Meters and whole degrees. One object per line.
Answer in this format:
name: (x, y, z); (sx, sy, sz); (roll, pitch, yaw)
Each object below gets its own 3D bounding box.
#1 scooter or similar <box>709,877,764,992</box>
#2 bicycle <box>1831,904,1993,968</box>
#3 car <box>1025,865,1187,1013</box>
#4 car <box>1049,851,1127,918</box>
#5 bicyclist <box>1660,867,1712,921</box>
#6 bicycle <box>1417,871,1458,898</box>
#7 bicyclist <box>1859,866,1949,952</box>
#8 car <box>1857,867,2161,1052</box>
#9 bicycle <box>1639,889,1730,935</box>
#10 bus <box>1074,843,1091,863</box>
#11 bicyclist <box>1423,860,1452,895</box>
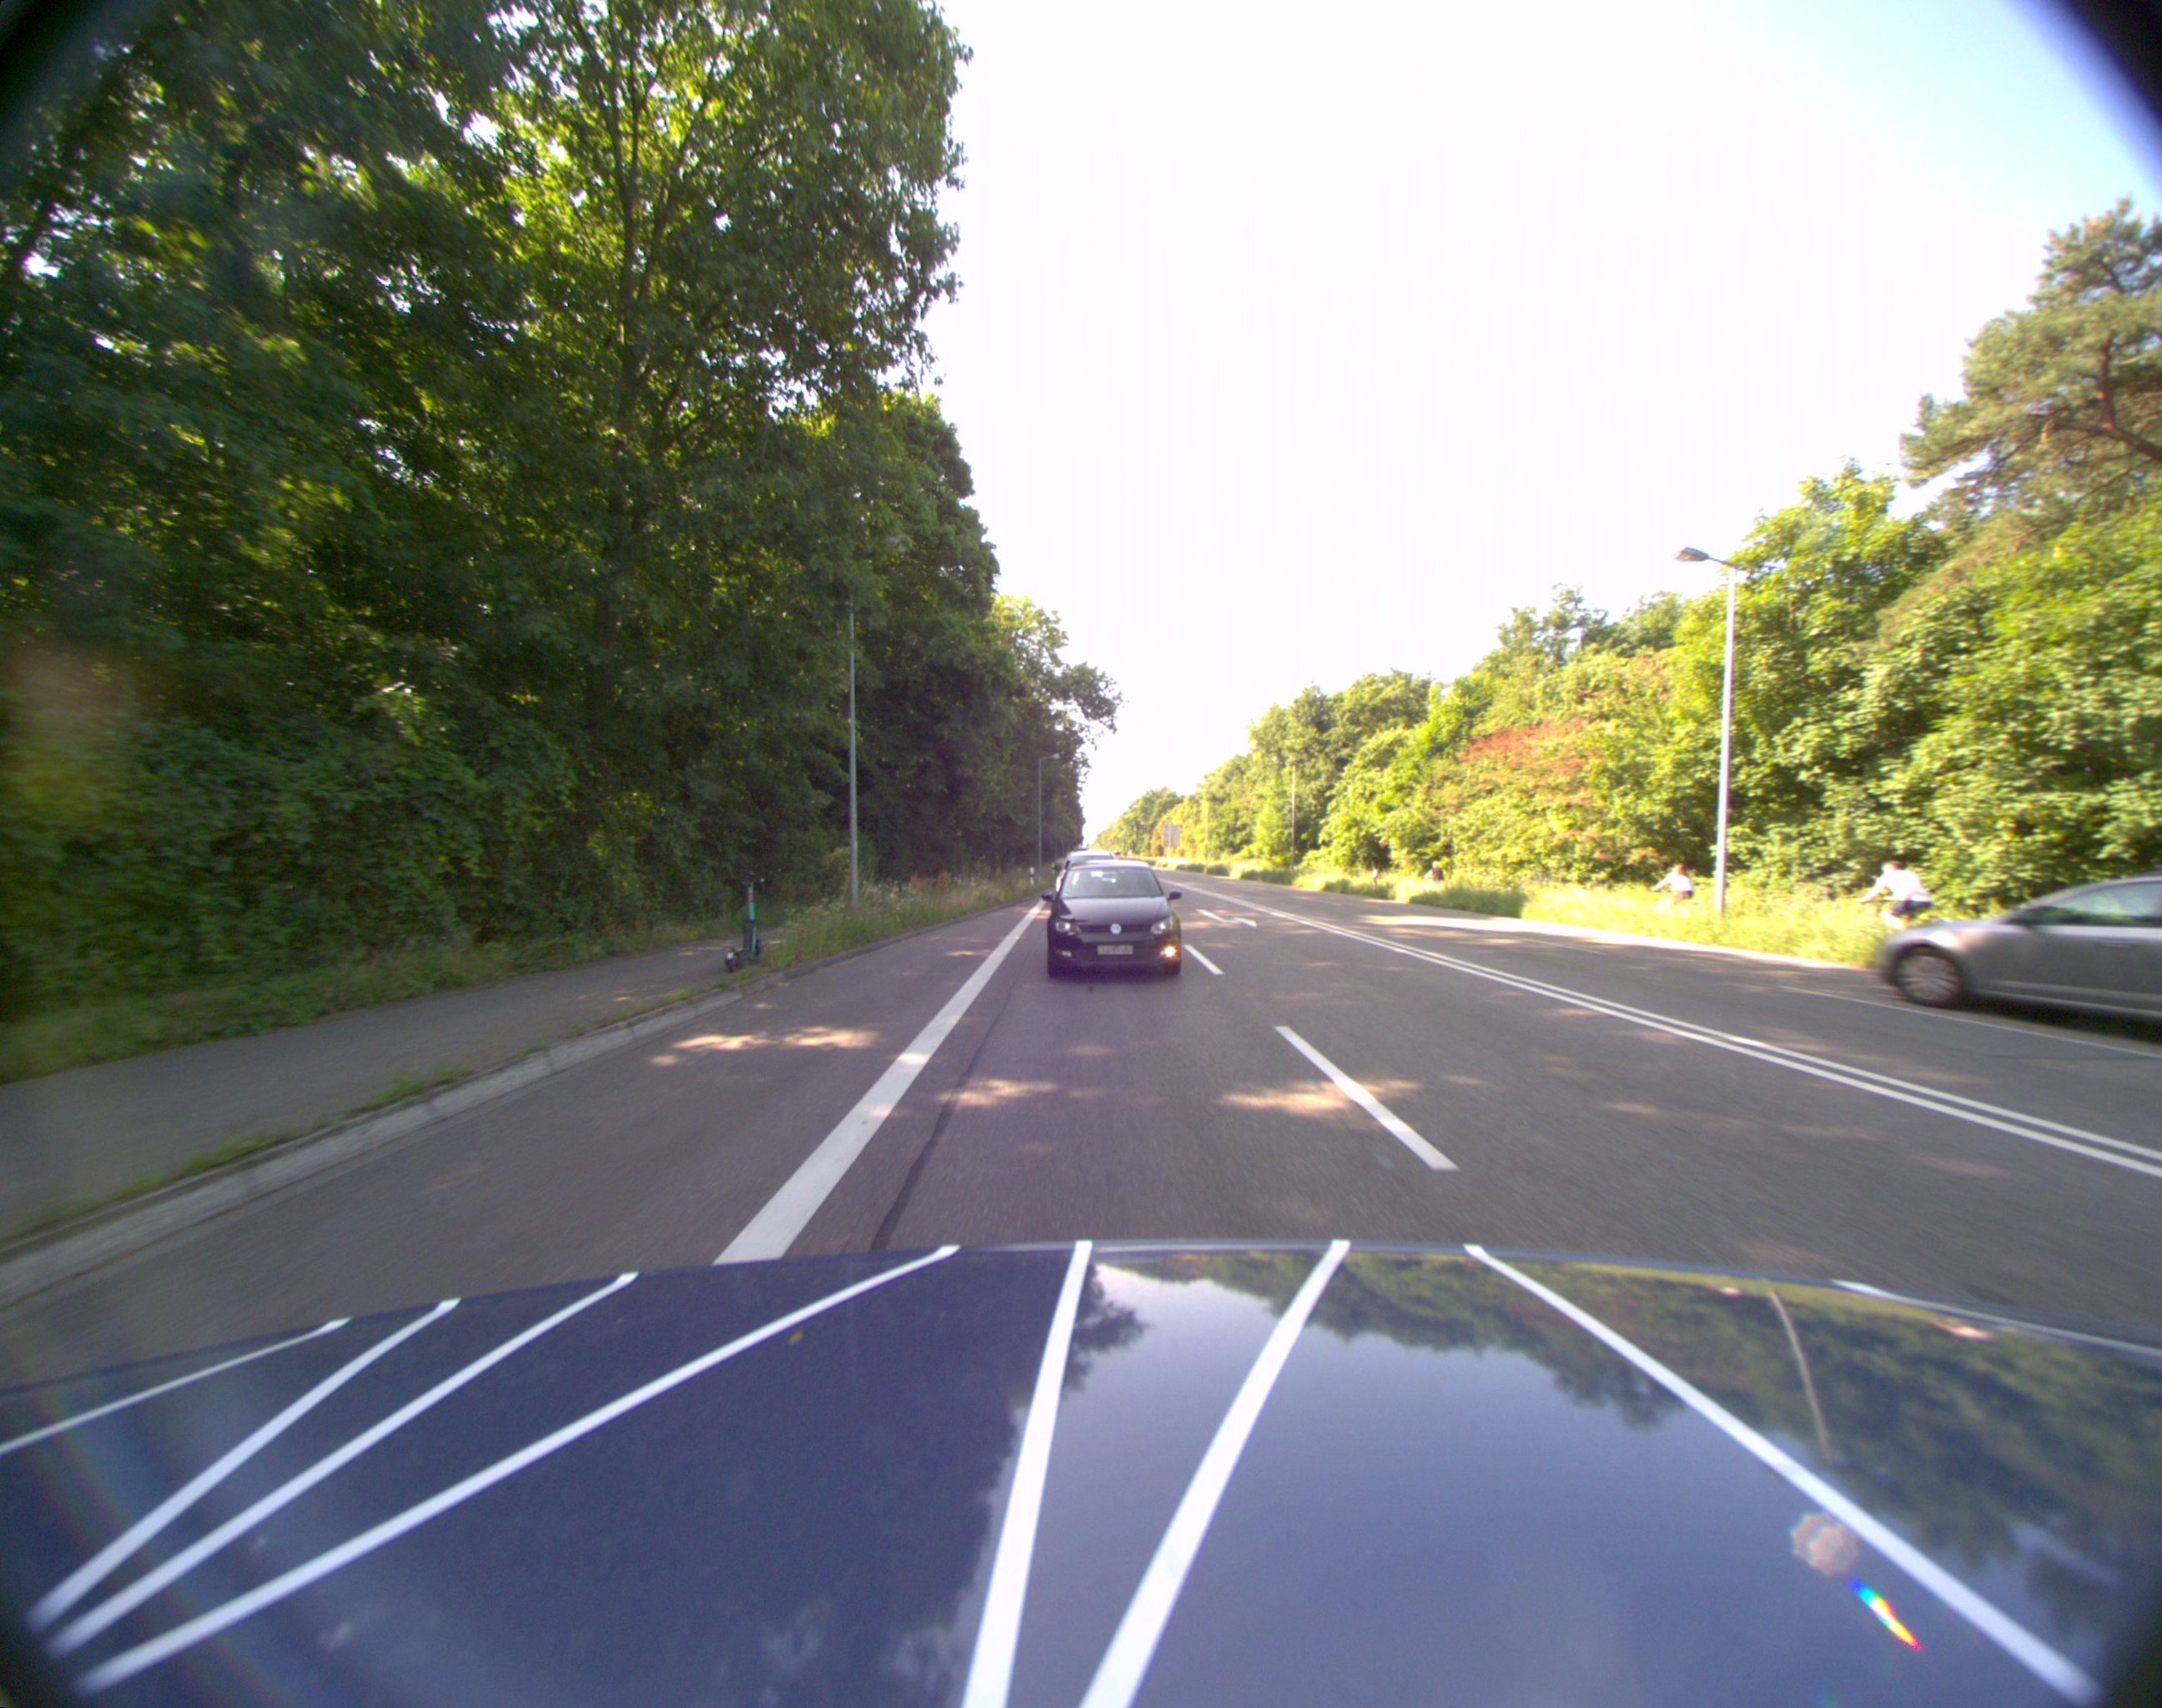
scooter or similar: (-4.321, 0.968, 9.578); (0.401, 1.299, 1.328); (0, 1, -14)
bicycle: (14.815, 1.430, 13.648); (0.605, 0.909, 2.139); (0, 0, 2)
car: (0.441, 0.929, 9.961); (1.650, 1.422, 4.056); (-2, 0, 5)
car: (0.308, 0.772, 21.481); (1.812, 1.639, 4.309); (-1, 0, 5)
bicyclist: (14.805, 0.973, 18.604); (0.702, 1.256, 0.727); (-2, 1, 2)
bicycle: (14.451, 1.226, 30.856); (0.677, 0.951, 1.913); (-2, 1, -2)
bicyclist: (14.825, 0.969, 13.712); (0.612, 1.458, 0.944); (-2, 1, 2)
car: (9.387, 0.869, 6.083); (1.707, 1.424, 4.460); (1, 0, -1)
bicycle: (14.884, 1.404, 18.825); (0.605, 0.952, 2.139); (0, 0, 2)
bus: (0.219, -0.291, 137.105); (2.782, 3.437, 7.792); (-2, 1, 0)
bicyclist: (14.444, 0.938, 30.825); (0.677, 1.335, 0.974); (-2, 1, -3)
